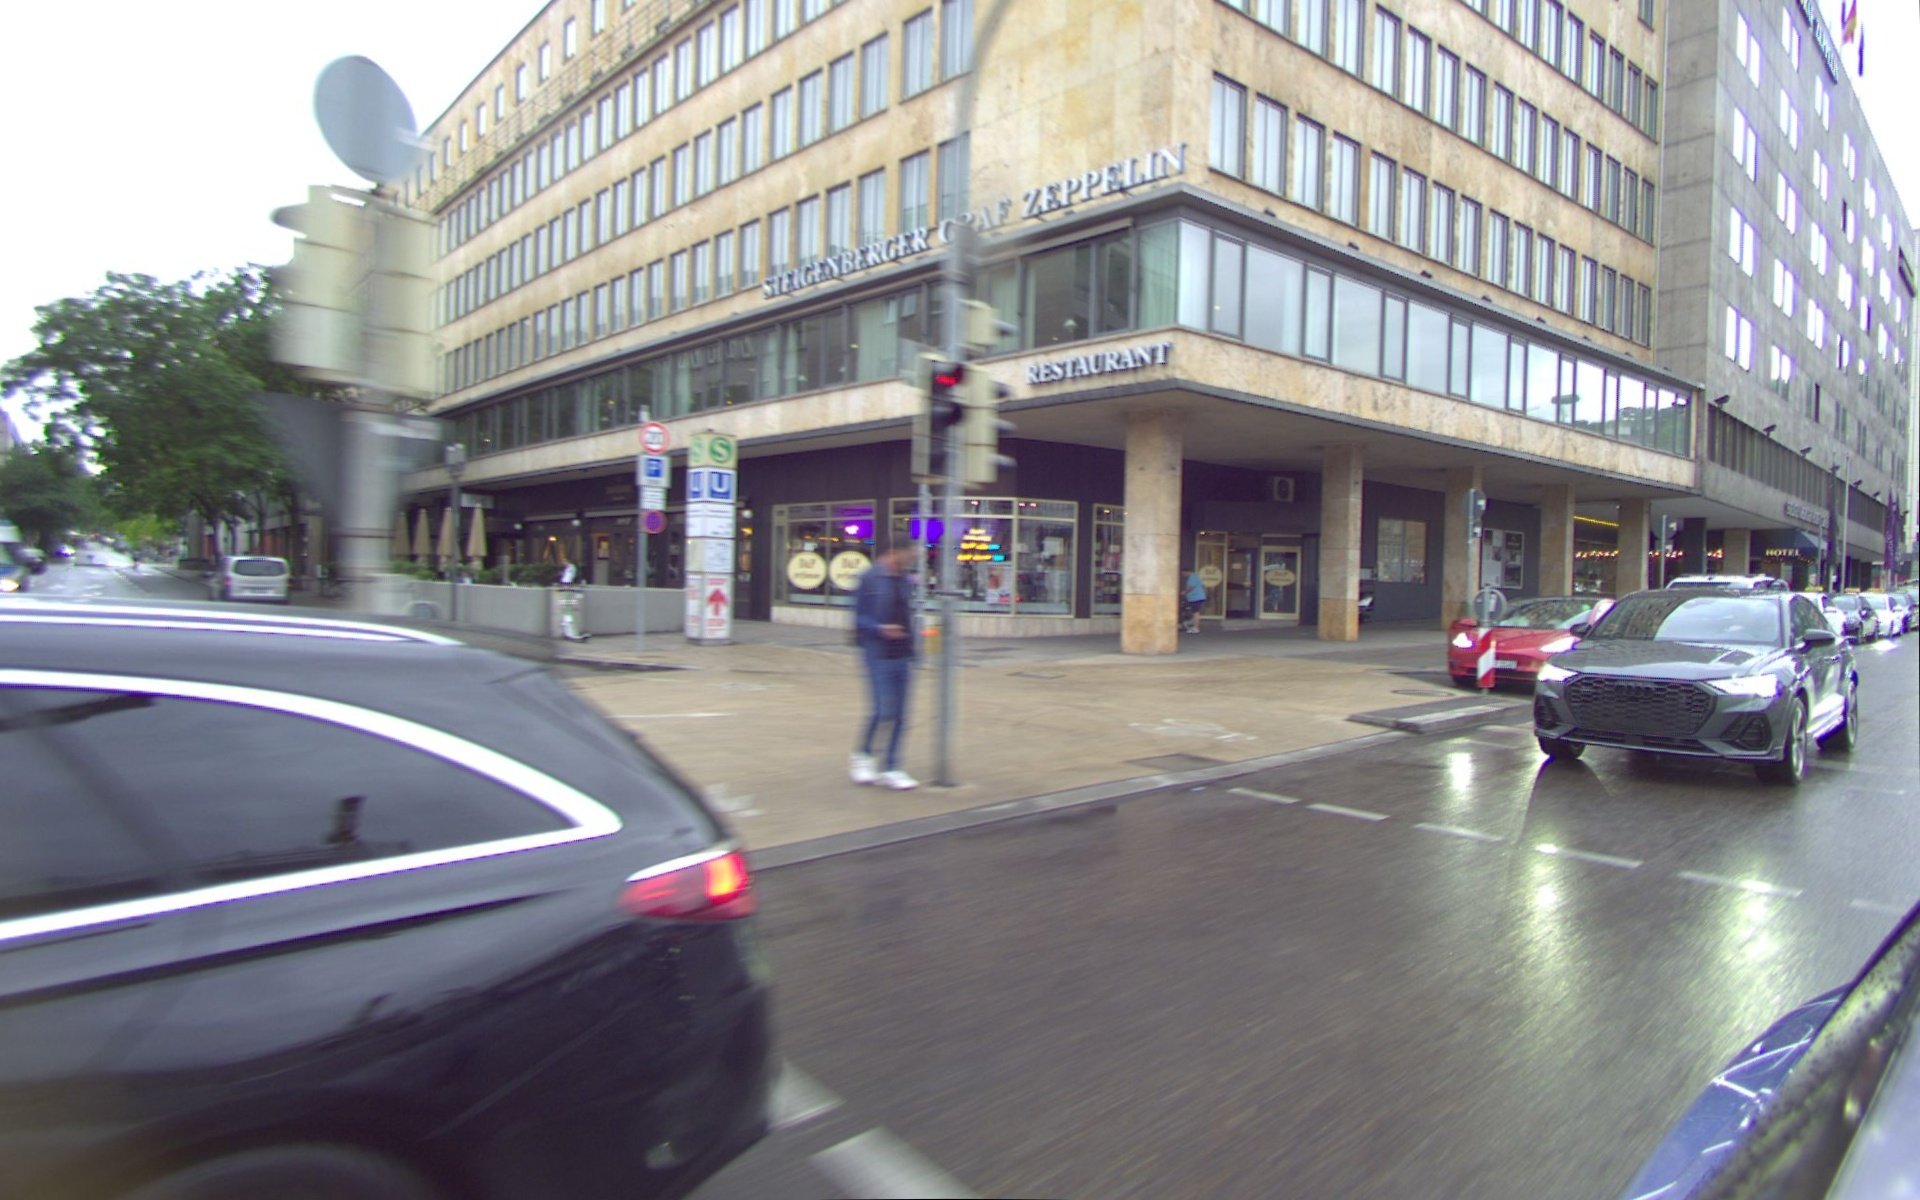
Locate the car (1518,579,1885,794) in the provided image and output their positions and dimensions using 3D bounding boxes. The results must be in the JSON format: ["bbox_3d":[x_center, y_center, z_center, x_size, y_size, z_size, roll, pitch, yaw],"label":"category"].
[{"bbox_3d":[6.925,0.590,9.294,4.092,1.527,1.875,0,1,-41],"label":"car"}]

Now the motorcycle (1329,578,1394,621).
[{"bbox_3d":[11.902,-0.031,29.969,2.492,1.246,0.730,0,1,-41],"label":"motorcycle"}]

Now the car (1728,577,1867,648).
[{"bbox_3d":[21.749,0.259,26.202,5.045,1.674,1.997,0,1,-41],"label":"car"}]

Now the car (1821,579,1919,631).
[{"bbox_3d":[30.652,0.129,33.950,4.791,1.629,1.997,0,1,-41],"label":"car"}]

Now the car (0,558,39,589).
[{"bbox_3d":[-65.796,-1.847,70.706,1.965,2.039,3.995,0,1,-40],"label":"car"}]

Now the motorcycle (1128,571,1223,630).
[{"bbox_3d":[5.737,-0.008,26.809,2.801,1.471,0.963,0,1,-41],"label":"motorcycle"}]

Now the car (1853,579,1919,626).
[{"bbox_3d":[35.124,0.050,37.832,4.833,1.635,1.997,0,1,-41],"label":"car"}]

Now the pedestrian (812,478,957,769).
[{"bbox_3d":[-0.542,0.151,7.259,0.779,1.943,0.674,0,0,-41],"label":"pedestrian"}]

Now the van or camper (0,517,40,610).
[{"bbox_3d":[-30.002,-1.106,30.922,2.451,2.673,6.005,0,1,-39],"label":"van or camper"}]

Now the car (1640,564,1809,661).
[{"bbox_3d":[16.850,0.211,22.217,4.910,1.908,1.997,0,1,-41],"label":"car"}]

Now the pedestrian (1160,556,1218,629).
[{"bbox_3d":[5.997,-0.217,26.509,1.089,1.870,1.001,-1,2,-39],"label":"pedestrian"}]

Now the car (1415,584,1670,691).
[{"bbox_3d":[9.286,0.487,16.007,4.404,1.431,2.192,0,1,-41],"label":"car"}]

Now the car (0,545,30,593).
[{"bbox_3d":[-44.454,-1.438,46.756,2.061,2.128,4.295,0,1,-41],"label":"car"}]

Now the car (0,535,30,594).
[{"bbox_3d":[-39.518,-1.446,41.175,2.293,2.324,4.691,0,1,-41],"label":"car"}]

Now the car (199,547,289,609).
[{"bbox_3d":[-24.650,-0.752,34.781,1.965,1.950,5.157,1,1,-42],"label":"car"}]

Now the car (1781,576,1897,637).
[{"bbox_3d":[26.166,0.152,30.073,4.481,1.656,1.997,0,1,-41],"label":"car"}]

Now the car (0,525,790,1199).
[{"bbox_3d":[-2.663,0.638,1.134,4.617,1.482,1.822,0,1,-41],"label":"car"}]
